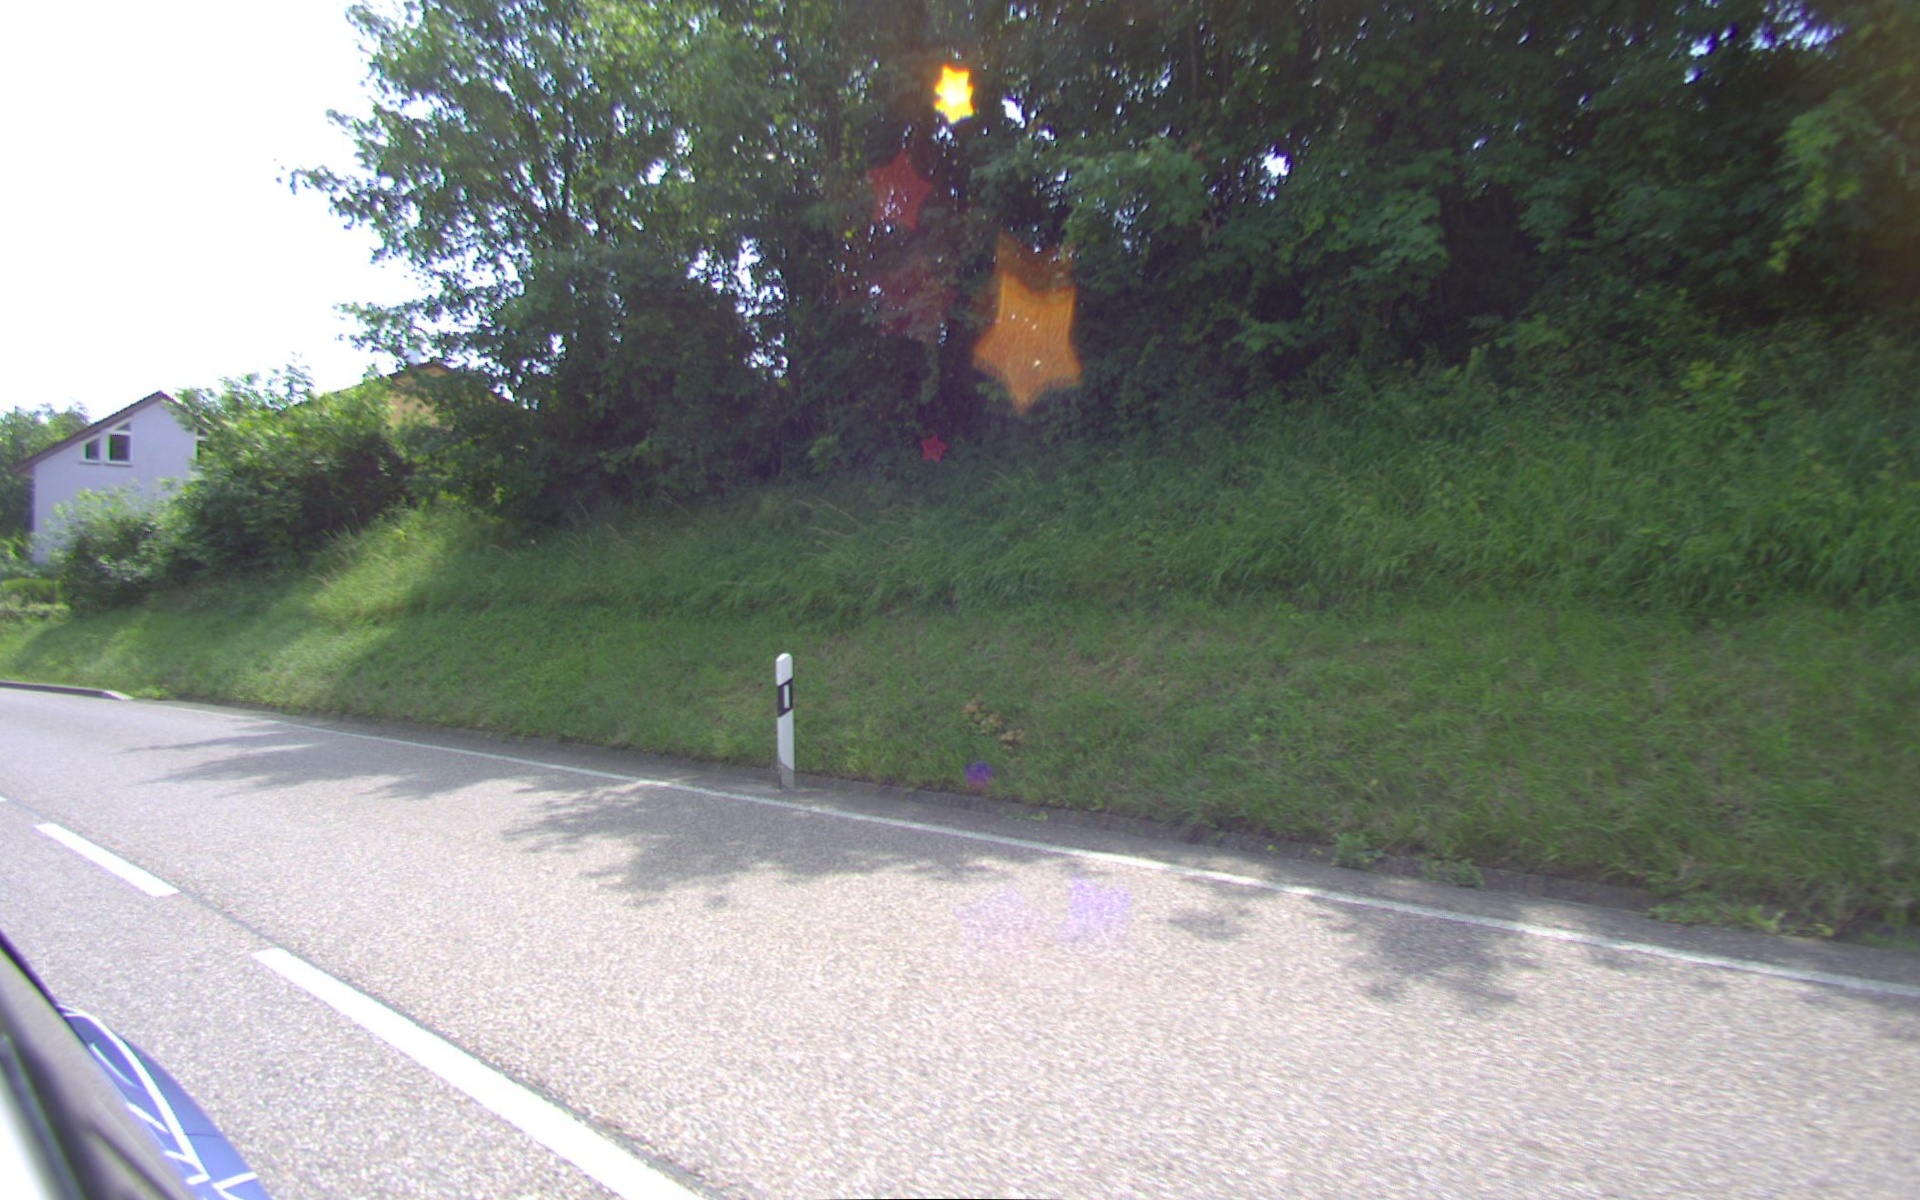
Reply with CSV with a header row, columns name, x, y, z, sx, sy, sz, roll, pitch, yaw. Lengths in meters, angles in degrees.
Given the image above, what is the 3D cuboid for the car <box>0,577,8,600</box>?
name,x,y,z,sx,sy,sz,roll,pitch,yaw
car,-69.297,-0.757,71.624,4.382,1.655,1.835,-1,3,35
